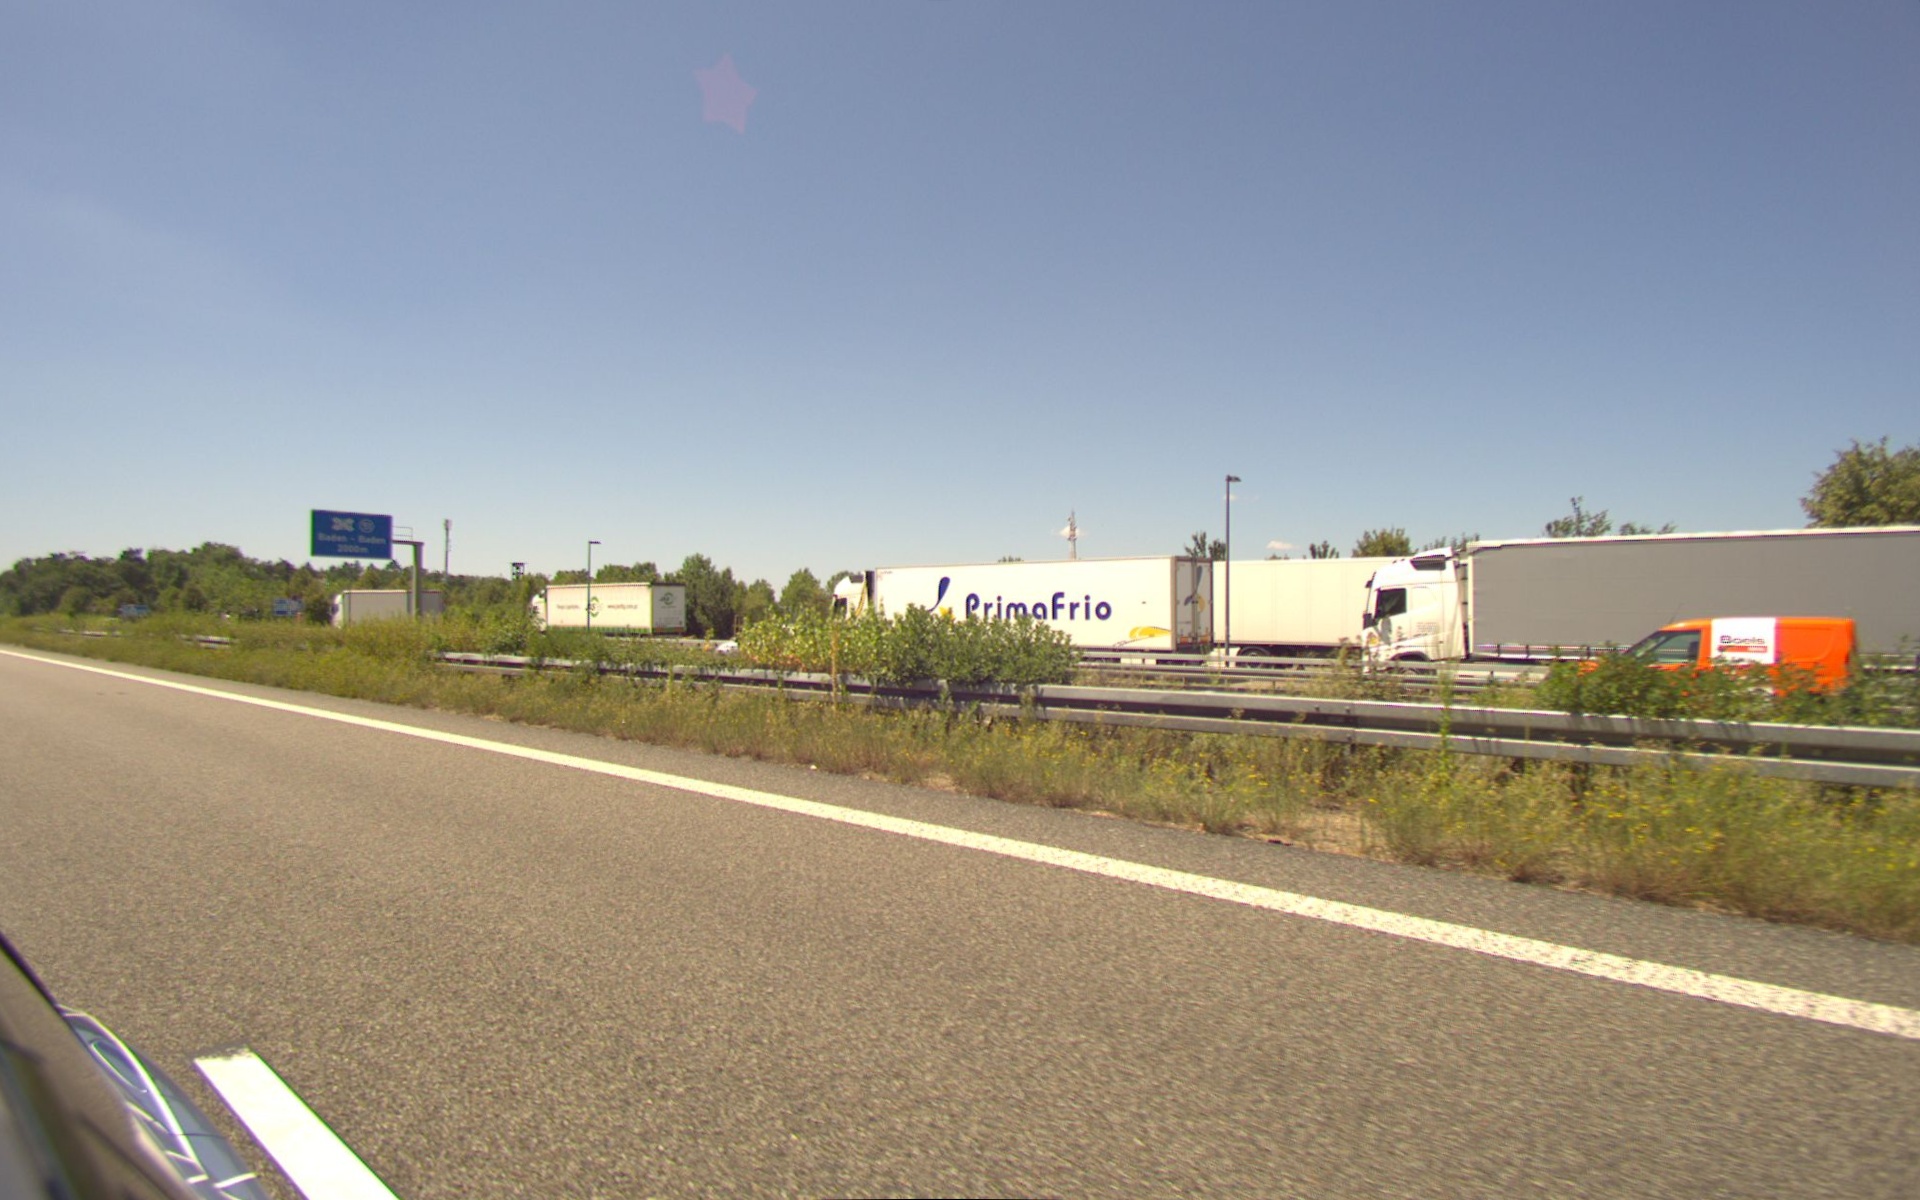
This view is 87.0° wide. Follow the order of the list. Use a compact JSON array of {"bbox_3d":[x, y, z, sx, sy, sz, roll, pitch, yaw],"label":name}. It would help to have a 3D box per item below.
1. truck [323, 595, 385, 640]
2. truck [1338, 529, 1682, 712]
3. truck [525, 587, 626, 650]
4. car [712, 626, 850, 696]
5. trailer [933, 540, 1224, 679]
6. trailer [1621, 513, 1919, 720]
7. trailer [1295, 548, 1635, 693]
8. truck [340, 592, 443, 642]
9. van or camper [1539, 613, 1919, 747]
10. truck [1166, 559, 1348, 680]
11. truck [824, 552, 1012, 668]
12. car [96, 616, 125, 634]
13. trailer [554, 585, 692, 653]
[{"bbox_3d":[-51.709,1.457,86.350,6.144,3.670,2.770,-1,0,41],"label":"truck"},{"bbox_3d":[14.335,0.491,26.742,7.498,4.189,3.085,-1,0,40],"label":"truck"},{"bbox_3d":[-27.296,1.289,71.597,8.312,4.183,3.063,-1,0,41],"label":"truck"},{"bbox_3d":[-4.672,1.508,26.137,3.750,1.624,1.506,-1,0,41],"label":"car"},{"bbox_3d":[3.813,0.330,35.533,10.509,4.250,2.572,-1,0,41],"label":"trailer"},{"bbox_3d":[20.697,0.310,21.353,11.007,4.189,3.082,-1,0,40],"label":"trailer"},{"bbox_3d":[15.768,0.601,32.273,9.303,4.036,2.668,-1,0,41],"label":"trailer"},{"bbox_3d":[-45.725,1.355,81.095,13.599,3.670,2.770,-1,0,41],"label":"truck"},{"bbox_3d":[12.185,1.146,16.234,4.744,1.853,1.876,-1,-2,41],"label":"van or camper"},{"bbox_3d":[10.691,0.675,36.705,5.741,4.036,2.668,-1,0,41],"label":"truck"},{"bbox_3d":[-1.852,0.408,40.489,7.932,4.220,2.554,-1,-1,41],"label":"truck"},{"bbox_3d":[-87.749,2.577,104.487,4.406,1.760,1.633,-1,0,41],"label":"car"},{"bbox_3d":[-22.684,1.220,67.546,12.004,4.187,3.062,-1,0,41],"label":"trailer"}]
